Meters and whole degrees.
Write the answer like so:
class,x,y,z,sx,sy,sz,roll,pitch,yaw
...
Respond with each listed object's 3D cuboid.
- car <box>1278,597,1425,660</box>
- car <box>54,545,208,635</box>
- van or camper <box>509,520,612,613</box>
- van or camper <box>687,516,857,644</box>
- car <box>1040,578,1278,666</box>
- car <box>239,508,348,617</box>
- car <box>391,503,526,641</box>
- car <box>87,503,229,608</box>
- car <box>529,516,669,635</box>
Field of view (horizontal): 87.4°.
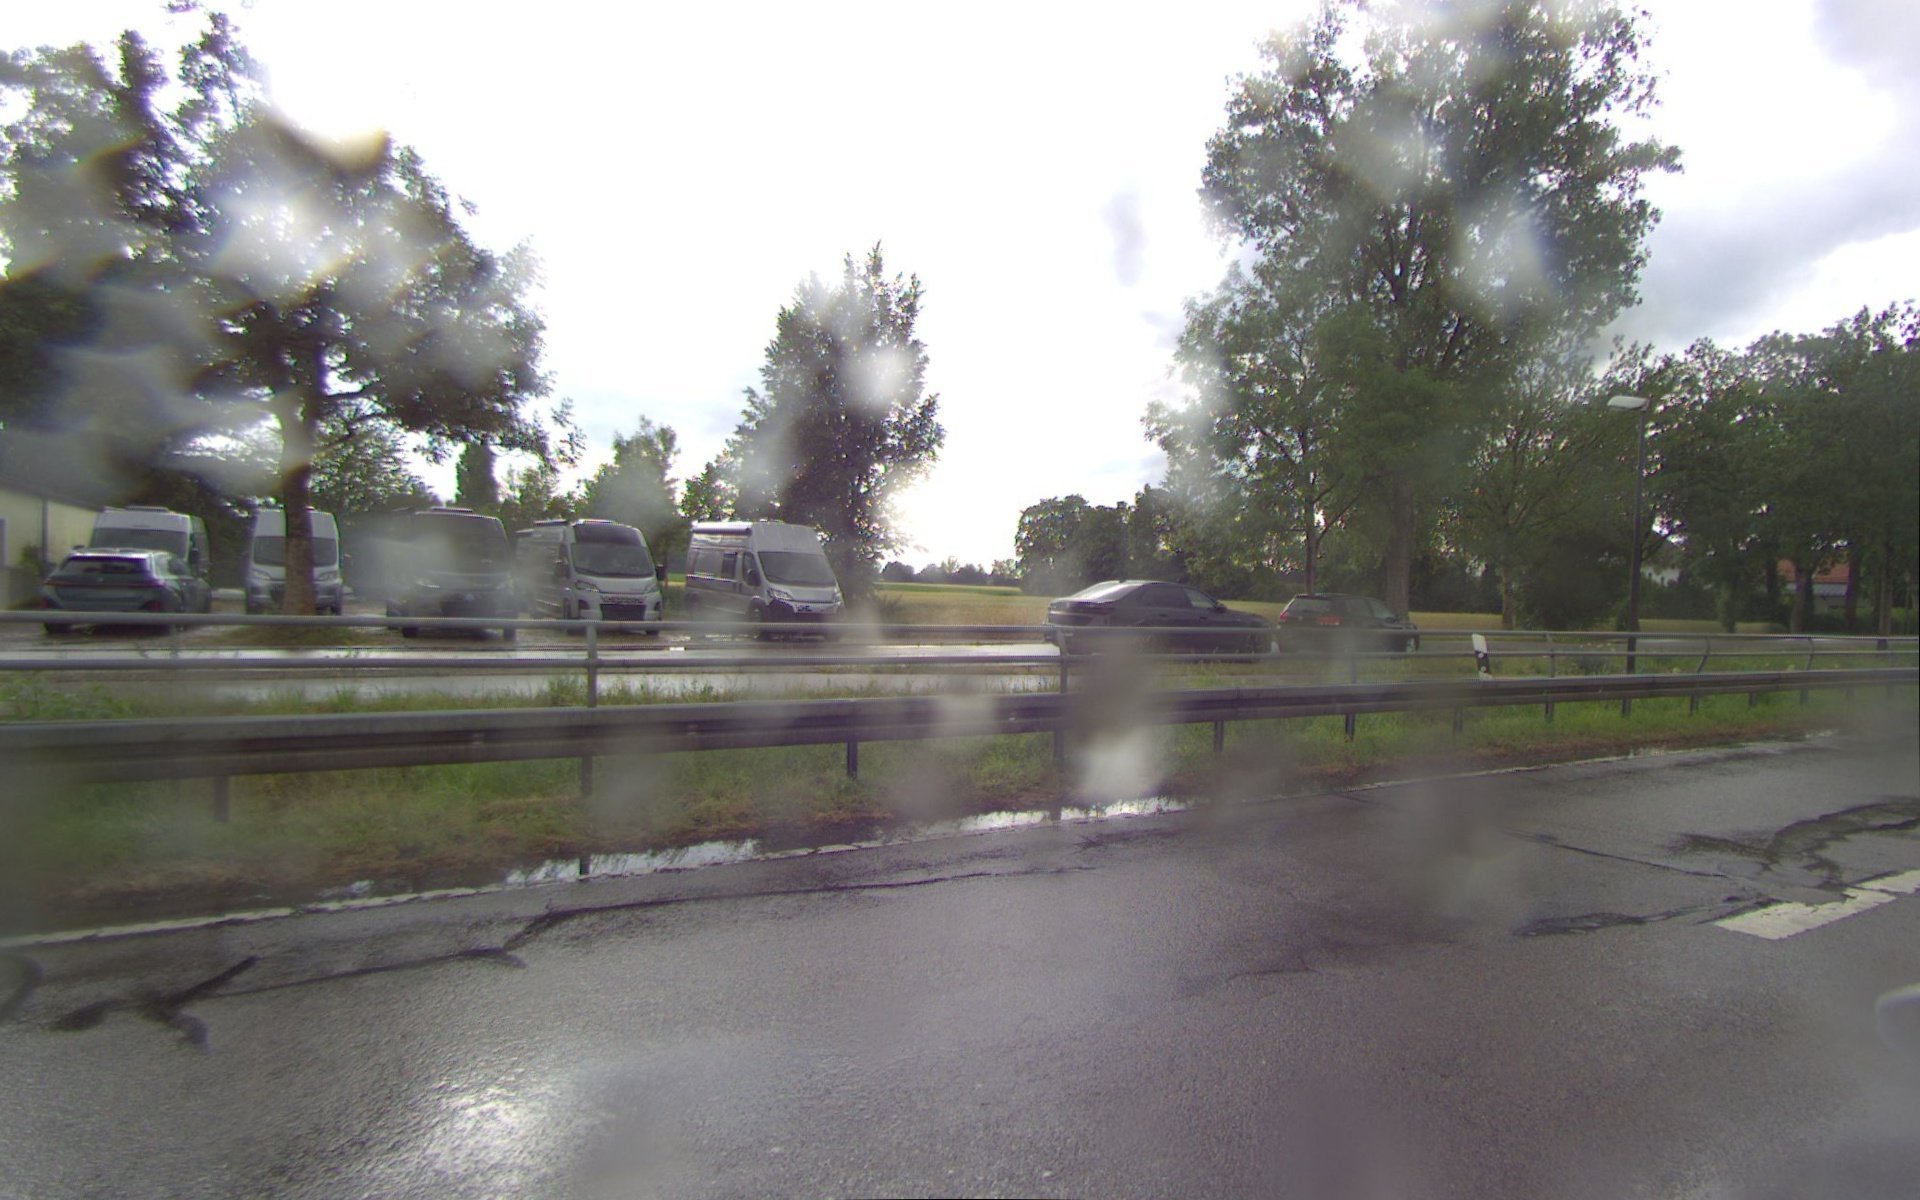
class,x,y,z,sx,sy,sz,roll,pitch,yaw
car,9.206,0.646,23.508,3.860,1.349,1.274,1,1,-36
car,-15.536,-0.224,19.017,1.521,1.516,3.867,1,2,-29
van or camper,-12.600,-1.059,31.419,1.978,2.625,5.772,1,2,-32
van or camper,-4.718,-0.524,24.313,2.058,2.713,5.842,1,2,-32
car,4.013,0.422,19.736,5.072,1.511,1.505,1,2,-36
car,-17.891,-0.993,27.223,2.067,2.573,6.061,1,1,-30
car,-10.713,-0.596,21.229,1.979,2.535,5.151,1,2,-33
car,-21.134,-1.145,26.744,2.067,2.449,6.061,1,1,-30
car,-8.640,-0.591,23.704,1.979,2.492,5.061,1,2,-33
